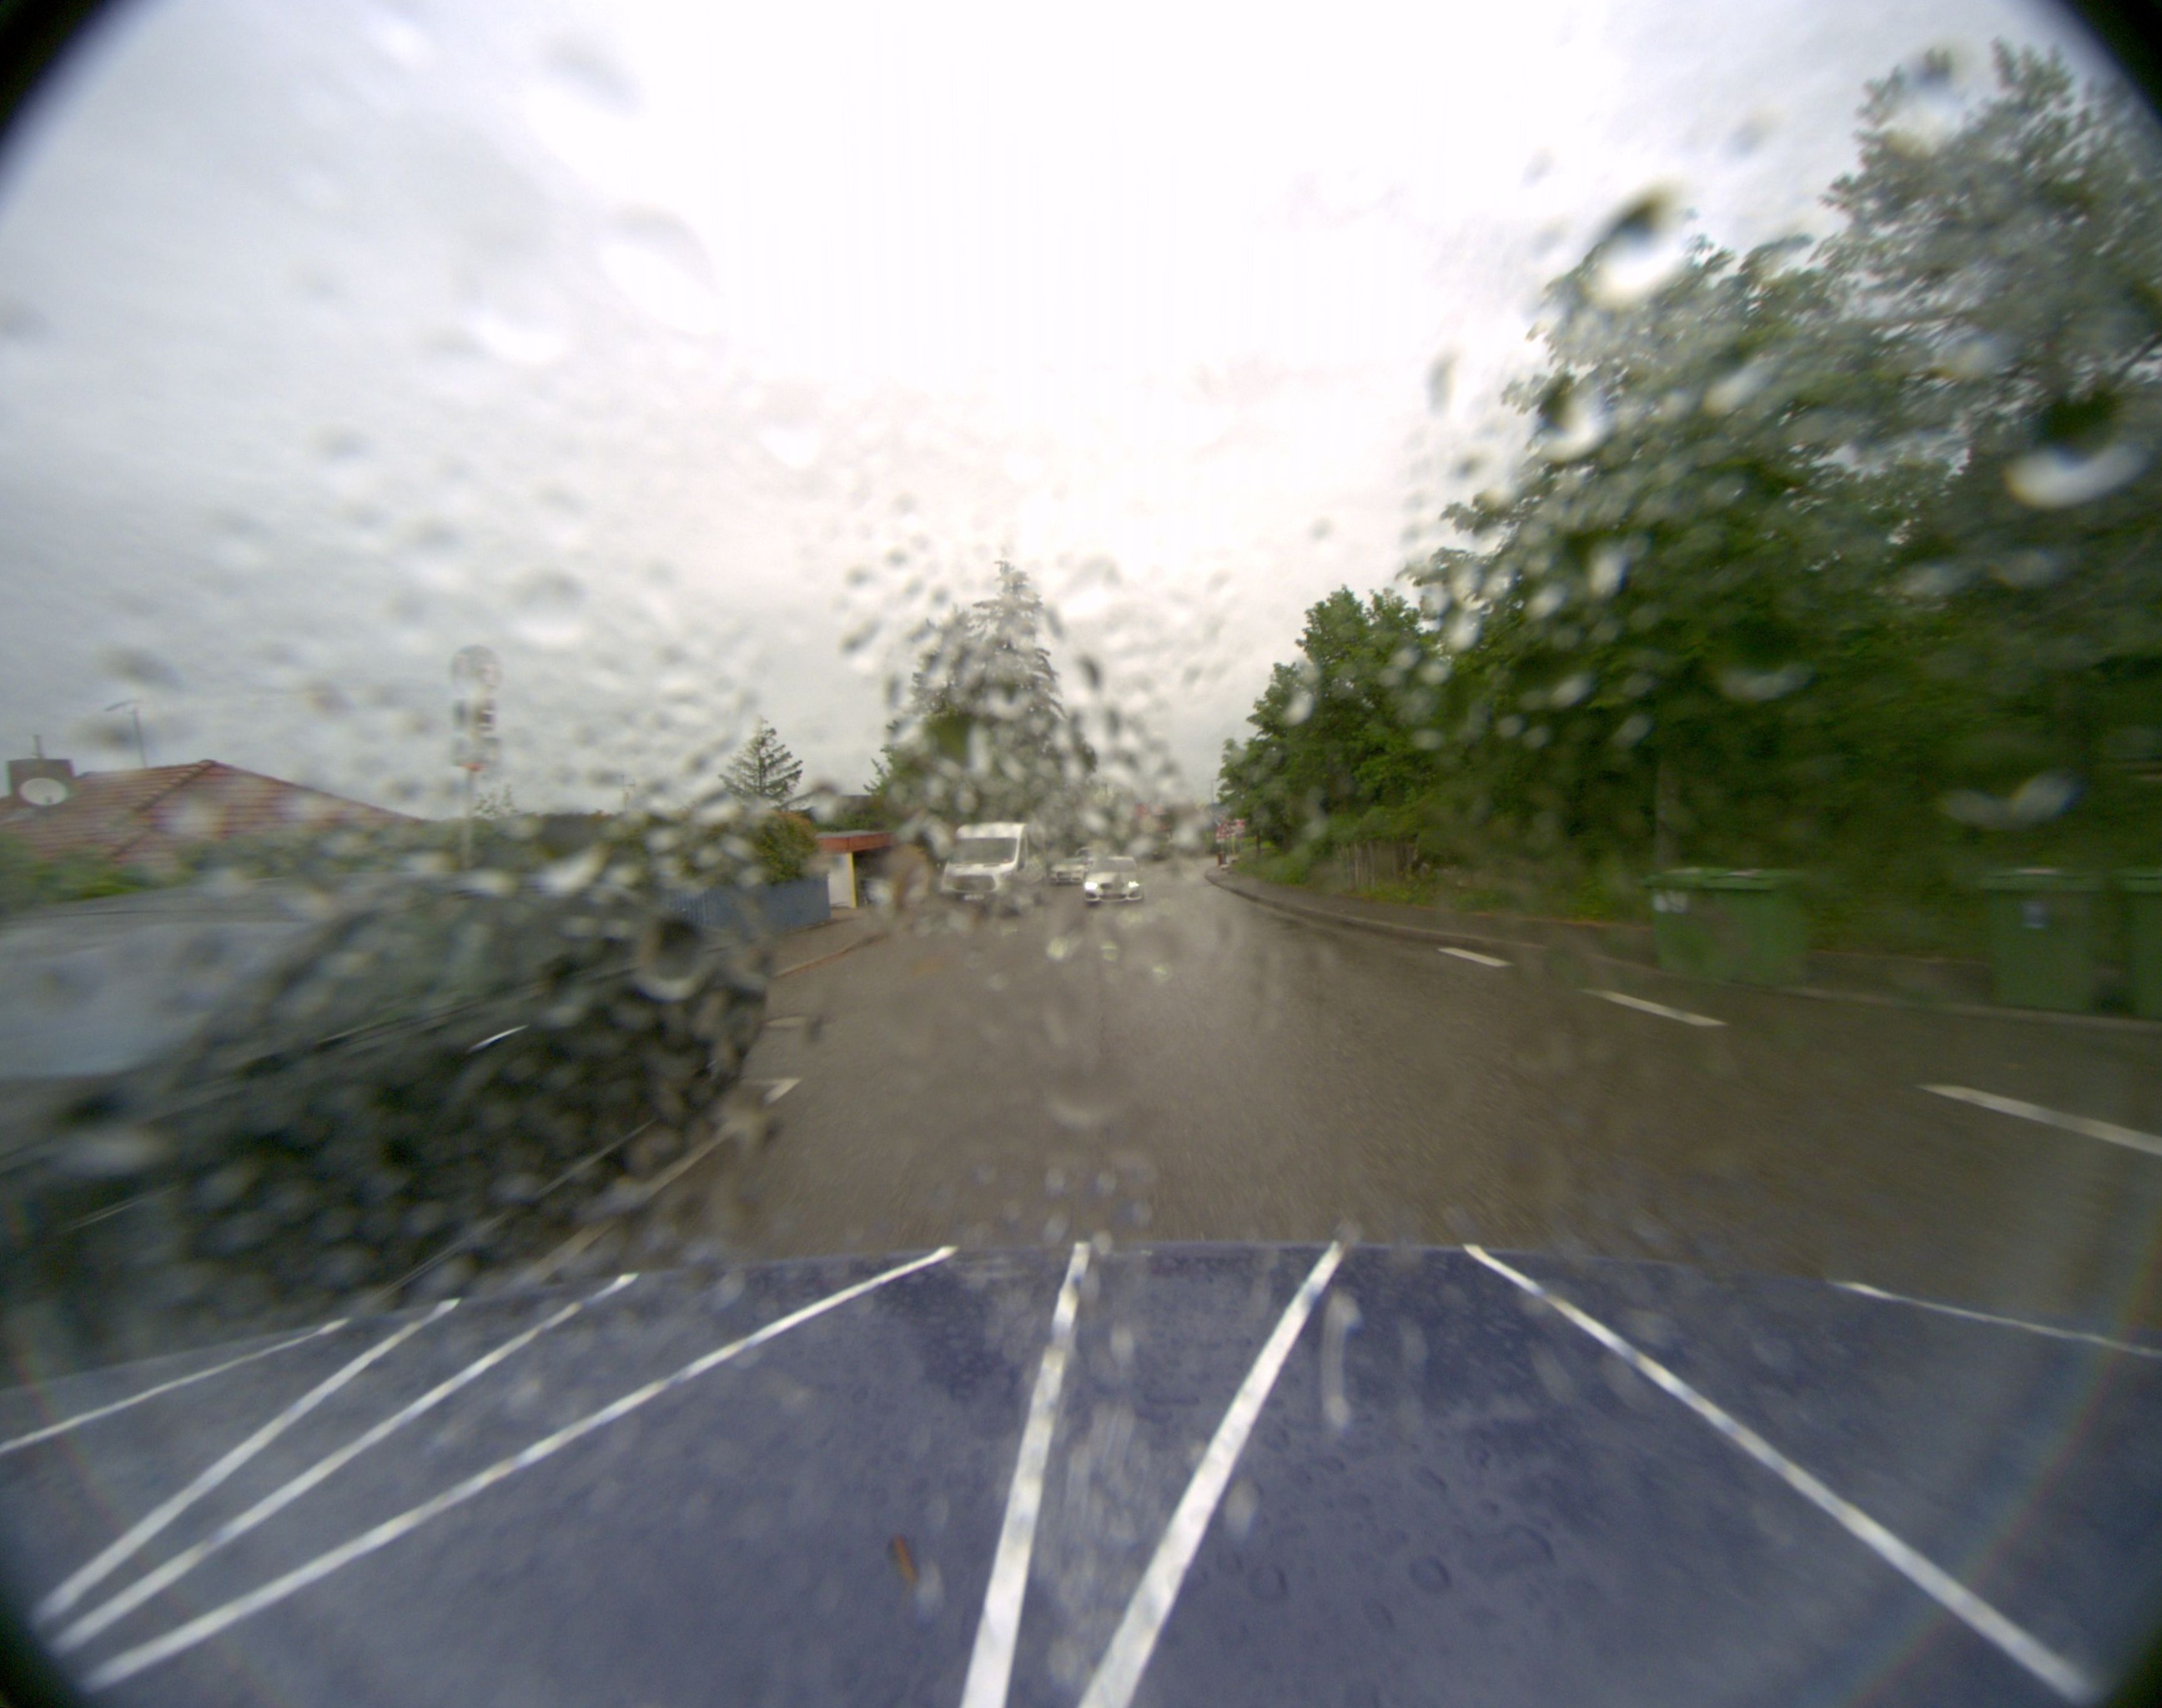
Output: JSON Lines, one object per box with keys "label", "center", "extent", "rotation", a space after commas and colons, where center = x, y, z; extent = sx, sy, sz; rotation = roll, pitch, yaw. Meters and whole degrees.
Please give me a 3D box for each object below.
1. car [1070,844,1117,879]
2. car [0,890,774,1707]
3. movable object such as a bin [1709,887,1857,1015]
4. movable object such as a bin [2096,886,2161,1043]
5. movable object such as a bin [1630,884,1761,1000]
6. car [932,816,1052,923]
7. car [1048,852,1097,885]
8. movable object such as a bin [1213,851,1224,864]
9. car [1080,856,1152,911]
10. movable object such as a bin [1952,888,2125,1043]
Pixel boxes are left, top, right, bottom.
{"label": "car", "center": [0.795, 0.397, 43.225], "extent": [1.868, 1.808, 4.865], "rotation": [-2, 1, 10]}
{"label": "car", "center": [-3.079, 1.017, 2.632], "extent": [1.862, 1.518, 5.063], "rotation": [-1, 0, 1]}
{"label": "movable object such as a bin", "center": [6.508, 0.861, 7.059], "extent": [0.781, 1.022, 0.718], "rotation": [-6, 2, -24]}
{"label": "movable object such as a bin", "center": [7.937, 0.773, 5.404], "extent": [0.717, 1.022, 0.781], "rotation": [-3, 3, 44]}
{"label": "movable object such as a bin", "center": [6.260, 0.860, 7.758], "extent": [0.781, 1.022, 0.718], "rotation": [-5, 2, -24]}
{"label": "car", "center": [-2.285, 0.341, 21.449], "extent": [2.077, 2.535, 6.183], "rotation": [-2, 1, 5]}
{"label": "car", "center": [-0.347, 0.678, 37.665], "extent": [1.752, 1.415, 4.002], "rotation": [-2, 1, 9]}
{"label": "movable object such as a bin", "center": [11.519, 0.288, 63.826], "extent": [0.881, 1.024, 0.803], "rotation": [-2, 1, 10]}
{"label": "car", "center": [1.176, 0.834, 23.545], "extent": [1.797, 1.455, 4.002], "rotation": [-2, 1, 9]}
{"label": "movable object such as a bin", "center": [7.401, 0.822, 5.920], "extent": [0.717, 1.022, 0.781], "rotation": [-3, 3, 44]}
